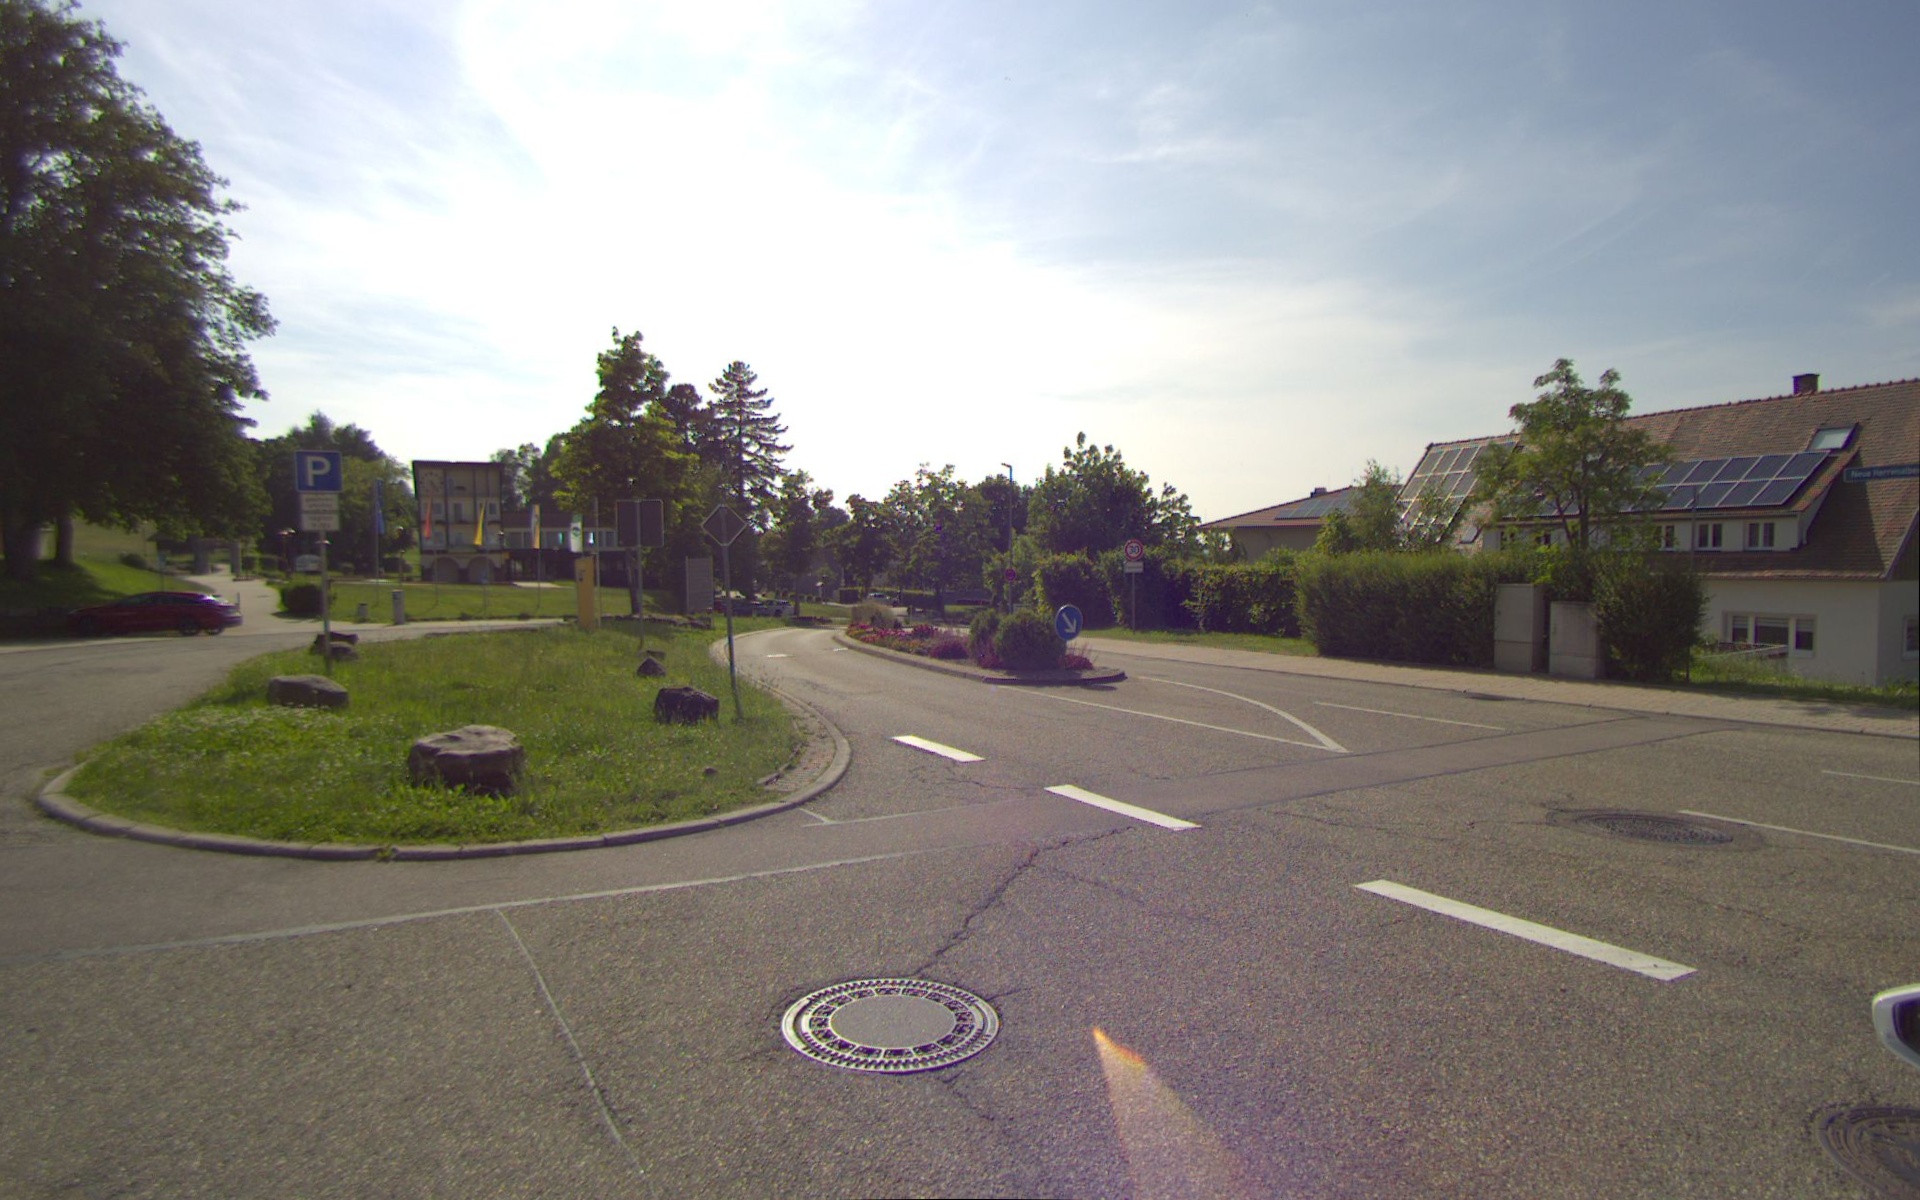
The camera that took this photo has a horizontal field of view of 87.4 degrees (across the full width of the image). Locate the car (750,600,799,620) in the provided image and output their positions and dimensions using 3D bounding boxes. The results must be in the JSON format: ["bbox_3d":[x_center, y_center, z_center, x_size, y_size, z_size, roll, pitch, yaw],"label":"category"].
[{"bbox_3d":[-16.243,0.858,87.934,3.866,1.630,1.775,2,0,25],"label":"car"}]

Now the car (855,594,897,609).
[{"bbox_3d":[-9.992,0.202,119.491,4.678,1.555,1.982,-1,6,-33],"label":"car"}]

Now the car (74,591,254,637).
[{"bbox_3d":[-25.780,0.439,32.691,4.166,1.417,1.819,1,0,-14],"label":"car"}]

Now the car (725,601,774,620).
[{"bbox_3d":[-17.658,0.891,84.110,3.643,1.452,1.775,2,0,25],"label":"car"}]

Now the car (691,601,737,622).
[{"bbox_3d":[-19.875,0.930,81.238,3.146,1.490,1.775,2,0,23],"label":"car"}]
